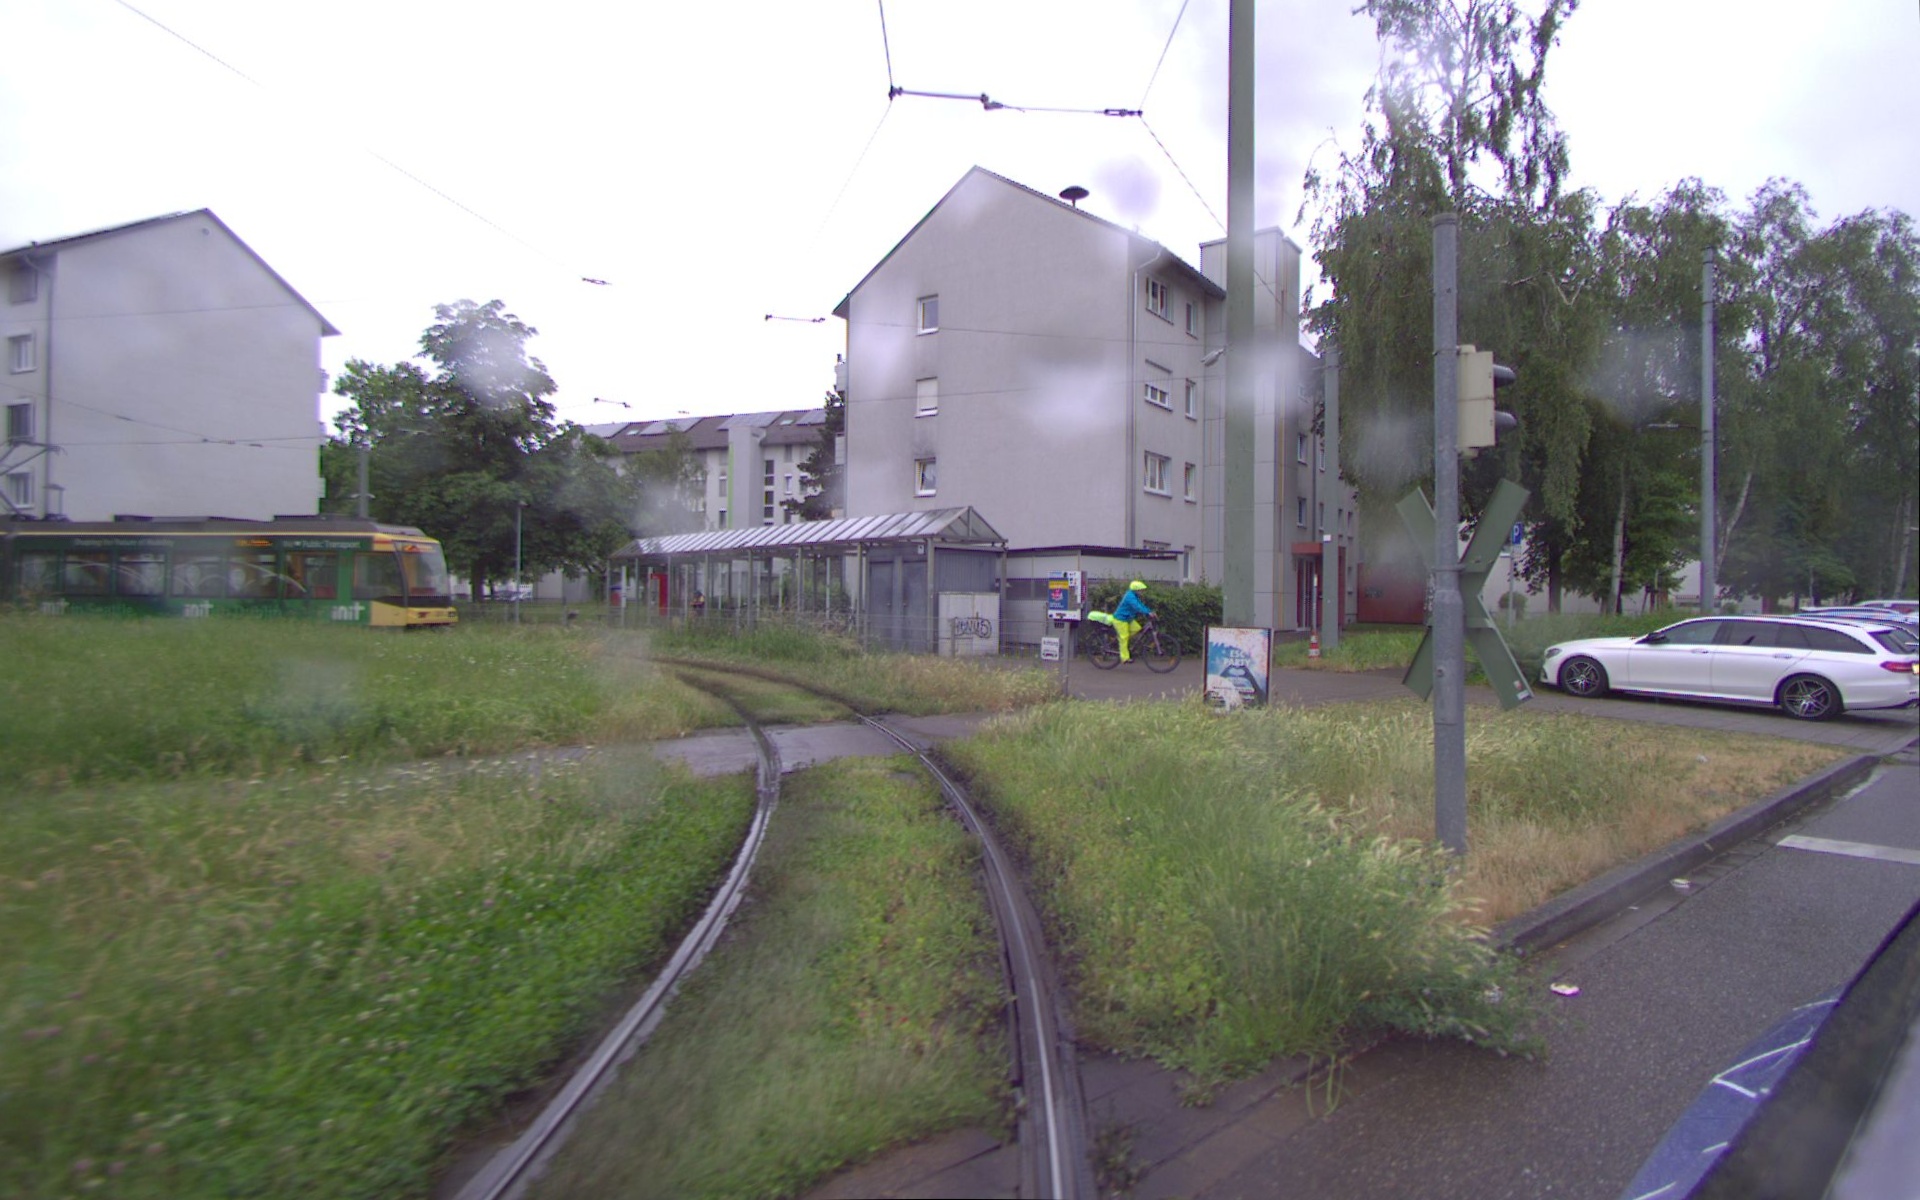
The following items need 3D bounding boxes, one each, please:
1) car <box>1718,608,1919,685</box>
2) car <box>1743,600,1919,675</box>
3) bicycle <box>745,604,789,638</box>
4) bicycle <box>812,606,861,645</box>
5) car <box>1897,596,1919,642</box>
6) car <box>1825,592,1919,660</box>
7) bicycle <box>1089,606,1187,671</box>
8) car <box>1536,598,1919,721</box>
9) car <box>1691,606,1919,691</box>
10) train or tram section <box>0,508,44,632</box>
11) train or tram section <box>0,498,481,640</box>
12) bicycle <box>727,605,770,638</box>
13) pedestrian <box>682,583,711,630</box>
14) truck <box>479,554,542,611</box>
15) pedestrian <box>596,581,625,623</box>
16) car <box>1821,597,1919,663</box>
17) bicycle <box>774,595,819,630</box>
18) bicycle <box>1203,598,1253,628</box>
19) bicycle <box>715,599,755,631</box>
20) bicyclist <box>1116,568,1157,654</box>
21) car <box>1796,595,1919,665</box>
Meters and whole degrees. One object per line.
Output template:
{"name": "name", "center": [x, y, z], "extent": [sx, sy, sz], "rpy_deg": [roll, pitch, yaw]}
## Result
{"name": "car", "center": [18.683, 0.936, 21.362], "extent": [1.692, 1.505, 3.995], "rpy_deg": [0, -2, -39]}
{"name": "car", "center": [20.559, 0.823, 23.065], "extent": [1.692, 1.606, 3.995], "rpy_deg": [0, -2, -39]}
{"name": "bicycle", "center": [-5.606, 0.608, 29.386], "extent": [1.215, 0.959, 0.377], "rpy_deg": [0, -2, -38]}
{"name": "bicycle", "center": [-3.159, 0.645, 25.937], "extent": [1.215, 0.968, 0.377], "rpy_deg": [0, -2, -38]}
{"name": "car", "center": [42.628, 0.801, 42.575], "extent": [1.866, 1.968, 4.541], "rpy_deg": [1, -1, -41]}
{"name": "car", "center": [29.982, 0.792, 31.509], "extent": [1.694, 2.088, 4.434], "rpy_deg": [1, -2, -43]}
{"name": "bicycle", "center": [3.250, 0.690, 18.638], "extent": [1.724, 1.144, 0.727], "rpy_deg": [1, -1, 7]}
{"name": "car", "center": [12.134, 0.800, 16.021], "extent": [1.964, 1.476, 4.838], "rpy_deg": [1, 2, -39]}
{"name": "car", "center": [16.853, 0.897, 19.636], "extent": [1.692, 1.505, 3.995], "rpy_deg": [0, -2, -39]}
{"name": "train or tram section", "center": [-35.266, -0.936, 30.321], "extent": [14.483, 3.636, 2.709], "rpy_deg": [0, -1, 7]}
{"name": "train or tram section", "center": [-20.927, -0.818, 28.403], "extent": [14.492, 3.636, 2.707], "rpy_deg": [0, -1, 9]}
{"name": "bicycle", "center": [-6.354, 0.639, 30.409], "extent": [1.215, 0.959, 0.377], "rpy_deg": [0, -2, -38]}
{"name": "pedestrian", "center": [-8.971, 0.222, 34.449], "extent": [0.776, 1.593, 0.635], "rpy_deg": [1, -2, -42]}
{"name": "truck", "center": [-30.475, -1.074, 68.420], "extent": [3.138, 3.518, 7.153], "rpy_deg": [0, -2, -30]}
{"name": "pedestrian", "center": [-16.089, 0.115, 46.624], "extent": [1.165, 1.908, 1.055], "rpy_deg": [-1, -2, -13]}
{"name": "car", "center": [28.050, 0.847, 29.346], "extent": [1.692, 1.870, 4.440], "rpy_deg": [0, -2, -39]}
{"name": "bicycle", "center": [-4.522, 0.349, 28.034], "extent": [1.215, 0.959, 0.377], "rpy_deg": [0, -2, -38]}
{"name": "bicycle", "center": [8.637, 0.410, 32.667], "extent": [1.467, 0.964, 0.526], "rpy_deg": [0, -1, 36]}
{"name": "bicycle", "center": [-6.930, 0.471, 31.183], "extent": [0.414, 0.959, 1.292], "rpy_deg": [-2, -2, 33]}
{"name": "bicyclist", "center": [3.254, 0.204, 18.653], "extent": [0.687, 1.536, 0.723], "rpy_deg": [1, -1, 7]}
{"name": "car", "center": [26.226, 0.816, 28.025], "extent": [1.692, 1.870, 4.440], "rpy_deg": [0, -2, -39]}
